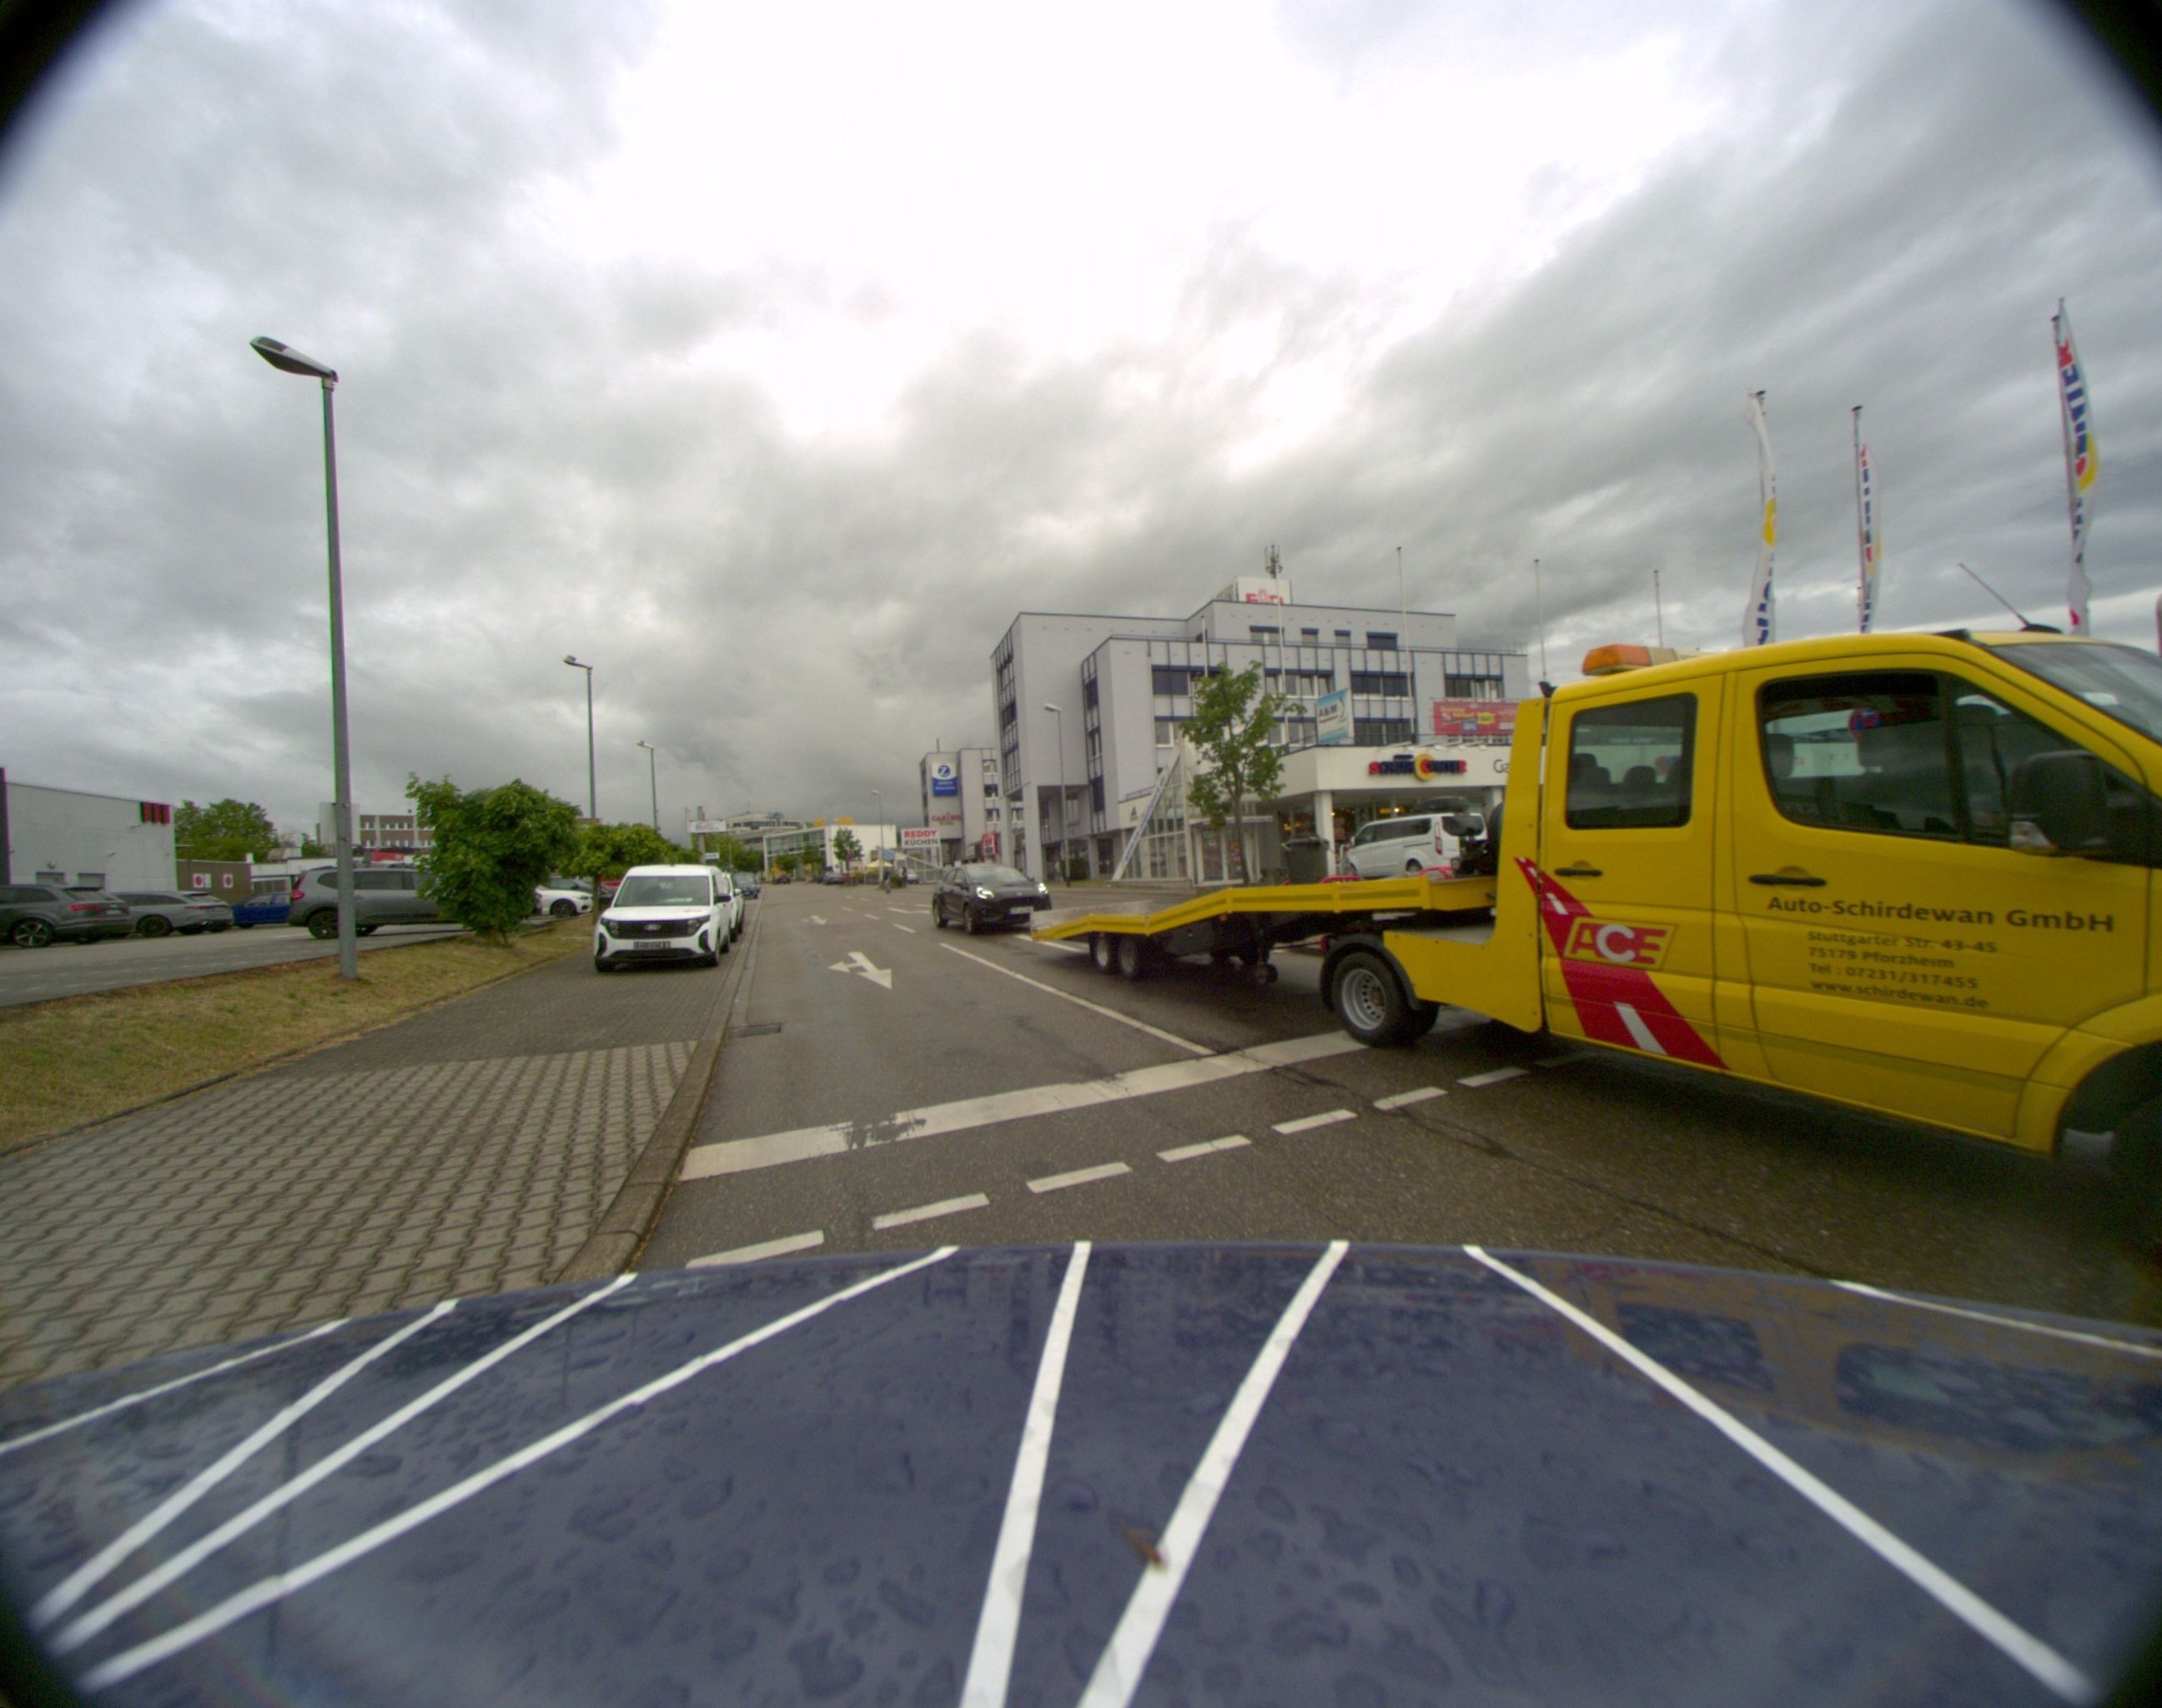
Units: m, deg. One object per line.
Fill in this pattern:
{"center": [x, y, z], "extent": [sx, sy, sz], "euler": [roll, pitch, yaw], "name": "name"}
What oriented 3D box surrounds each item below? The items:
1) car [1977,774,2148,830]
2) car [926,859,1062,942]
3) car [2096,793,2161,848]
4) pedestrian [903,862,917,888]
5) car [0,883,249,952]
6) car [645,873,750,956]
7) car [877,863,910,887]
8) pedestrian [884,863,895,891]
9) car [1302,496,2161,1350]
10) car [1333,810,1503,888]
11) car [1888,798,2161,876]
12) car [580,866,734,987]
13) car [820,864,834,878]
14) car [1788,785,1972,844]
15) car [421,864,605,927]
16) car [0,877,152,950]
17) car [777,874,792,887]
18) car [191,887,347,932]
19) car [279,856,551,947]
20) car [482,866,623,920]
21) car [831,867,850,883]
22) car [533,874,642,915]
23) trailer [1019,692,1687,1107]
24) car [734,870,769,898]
{"center": [41.579, -2.165, 32.344], "extent": [1.912, 2.002, 3.995], "euler": [-3, 0, -14], "name": "car"}
{"center": [-2.121, 0.990, 17.427], "extent": [1.816, 1.531, 3.992], "euler": [-5, 1, -25], "name": "car"}
{"center": [29.203, -0.940, 19.017], "extent": [1.900, 1.385, 4.121], "euler": [-3, 0, -17], "name": "car"}
{"center": [-11.703, 1.406, 51.897], "extent": [0.644, 1.733, 0.589], "euler": [-3, 1, 12], "name": "pedestrian"}
{"center": [-30.413, 1.964, 24.400], "extent": [4.507, 1.730, 1.889], "euler": [-3, 1, -26], "name": "car"}
{"center": [-9.419, 1.386, 18.979], "extent": [1.825, 1.698, 3.993], "euler": [-3, 0, -20], "name": "car"}
{"center": [-13.876, 1.549, 56.182], "extent": [1.825, 1.601, 3.994], "euler": [-3, -1, -20], "name": "car"}
{"center": [-11.985, 1.441, 47.609], "extent": [0.551, 1.698, 0.518], "euler": [-4, 1, -18], "name": "pedestrian"}
{"center": [3.676, 0.188, 3.742], "extent": [2.249, 2.459, 5.006], "euler": [-3, 0, -22], "name": "car"}
{"center": [9.881, -0.113, 22.796], "extent": [2.001, 2.002, 4.781], "euler": [-3, 0, -16], "name": "car"}
{"center": [19.727, -0.320, 15.471], "extent": [1.824, 1.385, 4.122], "euler": [-3, 0, -14], "name": "car"}
{"center": [-7.437, 1.135, 13.744], "extent": [1.800, 1.772, 4.242], "euler": [-1, -1, -21], "name": "car"}
{"center": [-33.540, 2.240, 100.190], "extent": [1.569, 1.807, 3.900], "euler": [-4, 1, -20], "name": "car"}
{"center": [30.099, -1.426, 28.814], "extent": [1.898, 1.895, 4.369], "euler": [-3, 0, -17], "name": "car"}
{"center": [-18.615, 1.309, 25.198], "extent": [4.508, 1.730, 1.889], "euler": [-3, 0, -26], "name": "car"}
{"center": [-28.553, 1.630, 19.997], "extent": [4.748, 1.730, 1.889], "euler": [-3, 1, -26], "name": "car"}
{"center": [-43.527, 3.858, 111.507], "extent": [1.904, 1.755, 3.993], "euler": [-4, 1, -20], "name": "car"}
{"center": [-33.580, 2.266, 31.585], "extent": [4.042, 1.477, 1.737], "euler": [-3, 0, -28], "name": "car"}
{"center": [-15.710, 1.051, 18.300], "extent": [4.507, 1.730, 1.889], "euler": [-3, 1, -26], "name": "car"}
{"center": [-20.610, 1.475, 29.868], "extent": [4.190, 1.764, 1.878], "euler": [-3, 1, -24], "name": "car"}
{"center": [-27.447, 2.403, 86.522], "extent": [1.804, 1.662, 3.662], "euler": [-4, 1, -20], "name": "car"}
{"center": [-21.906, 1.773, 33.898], "extent": [3.749, 1.505, 1.732], "euler": [-3, 1, -25], "name": "car"}
{"center": [1.666, 0.285, 8.616], "extent": [2.313, 2.459, 7.957], "euler": [-3, 0, -22], "name": "trailer"}
{"center": [-22.160, 1.979, 51.210], "extent": [1.825, 1.698, 3.993], "euler": [-3, 0, -20], "name": "car"}
